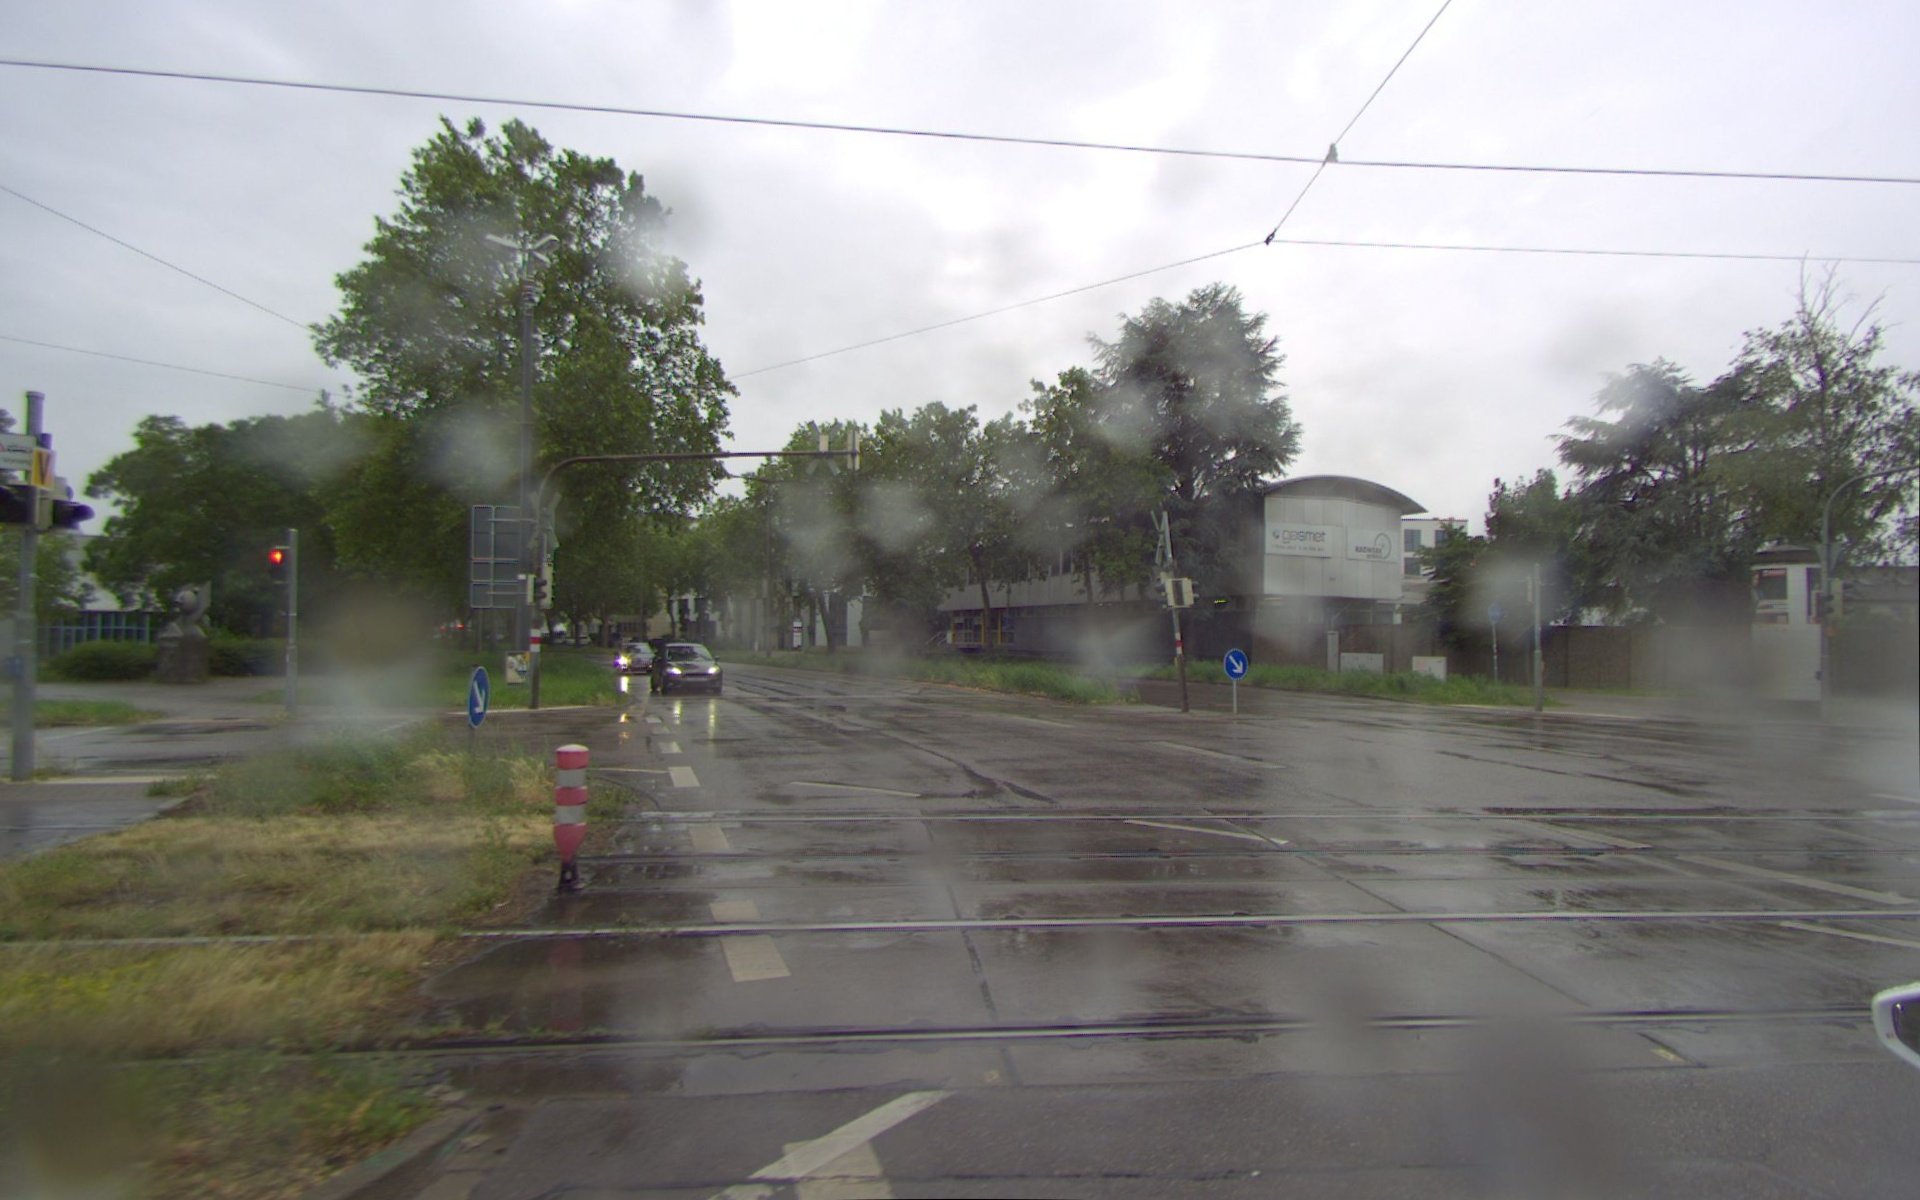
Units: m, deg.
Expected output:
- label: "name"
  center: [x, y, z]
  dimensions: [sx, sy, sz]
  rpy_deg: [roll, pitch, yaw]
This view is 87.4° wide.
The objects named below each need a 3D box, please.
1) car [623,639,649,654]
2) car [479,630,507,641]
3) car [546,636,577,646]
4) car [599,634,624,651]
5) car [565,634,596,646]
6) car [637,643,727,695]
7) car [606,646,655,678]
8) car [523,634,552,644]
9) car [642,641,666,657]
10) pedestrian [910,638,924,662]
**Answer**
- label: "car"
  center: [-40.776, 5.846, 126.411]
  dimensions: [1.980, 1.806, 3.961]
  rpy_deg: [2, -1, -35]
- label: "car"
  center: [-82.849, 6.286, 178.106]
  dimensions: [1.972, 1.844, 3.977]
  rpy_deg: [0, -1, 43]
- label: "car"
  center: [-60.826, 6.215, 153.357]
  dimensions: [1.861, 1.513, 3.859]
  rpy_deg: [0, -1, 42]
- label: "car"
  center: [-47.243, 5.736, 136.149]
  dimensions: [2.109, 2.116, 3.958]
  rpy_deg: [2, -1, -37]
- label: "car"
  center: [-57.171, 6.034, 151.387]
  dimensions: [3.852, 1.673, 1.864]
  rpy_deg: [2, -1, -43]
- label: "car"
  center: [-8.586, 2.061, 30.780]
  dimensions: [1.782, 1.420, 4.283]
  rpy_deg: [0, -2, -28]
- label: "car"
  center: [-15.343, 2.893, 46.680]
  dimensions: [1.779, 1.425, 4.437]
  rpy_deg: [2, -4, -23]
- label: "car"
  center: [-67.339, 6.191, 160.231]
  dimensions: [1.861, 1.524, 3.859]
  rpy_deg: [0, -1, 42]
- label: "car"
  center: [-36.742, 5.888, 120.588]
  dimensions: [1.977, 1.806, 3.968]
  rpy_deg: [2, -1, -30]
- label: "pedestrian"
  center: [-3.120, 3.668, 73.380]
  dimensions: [0.665, 1.690, 0.818]
  rpy_deg: [2, -1, -31]
